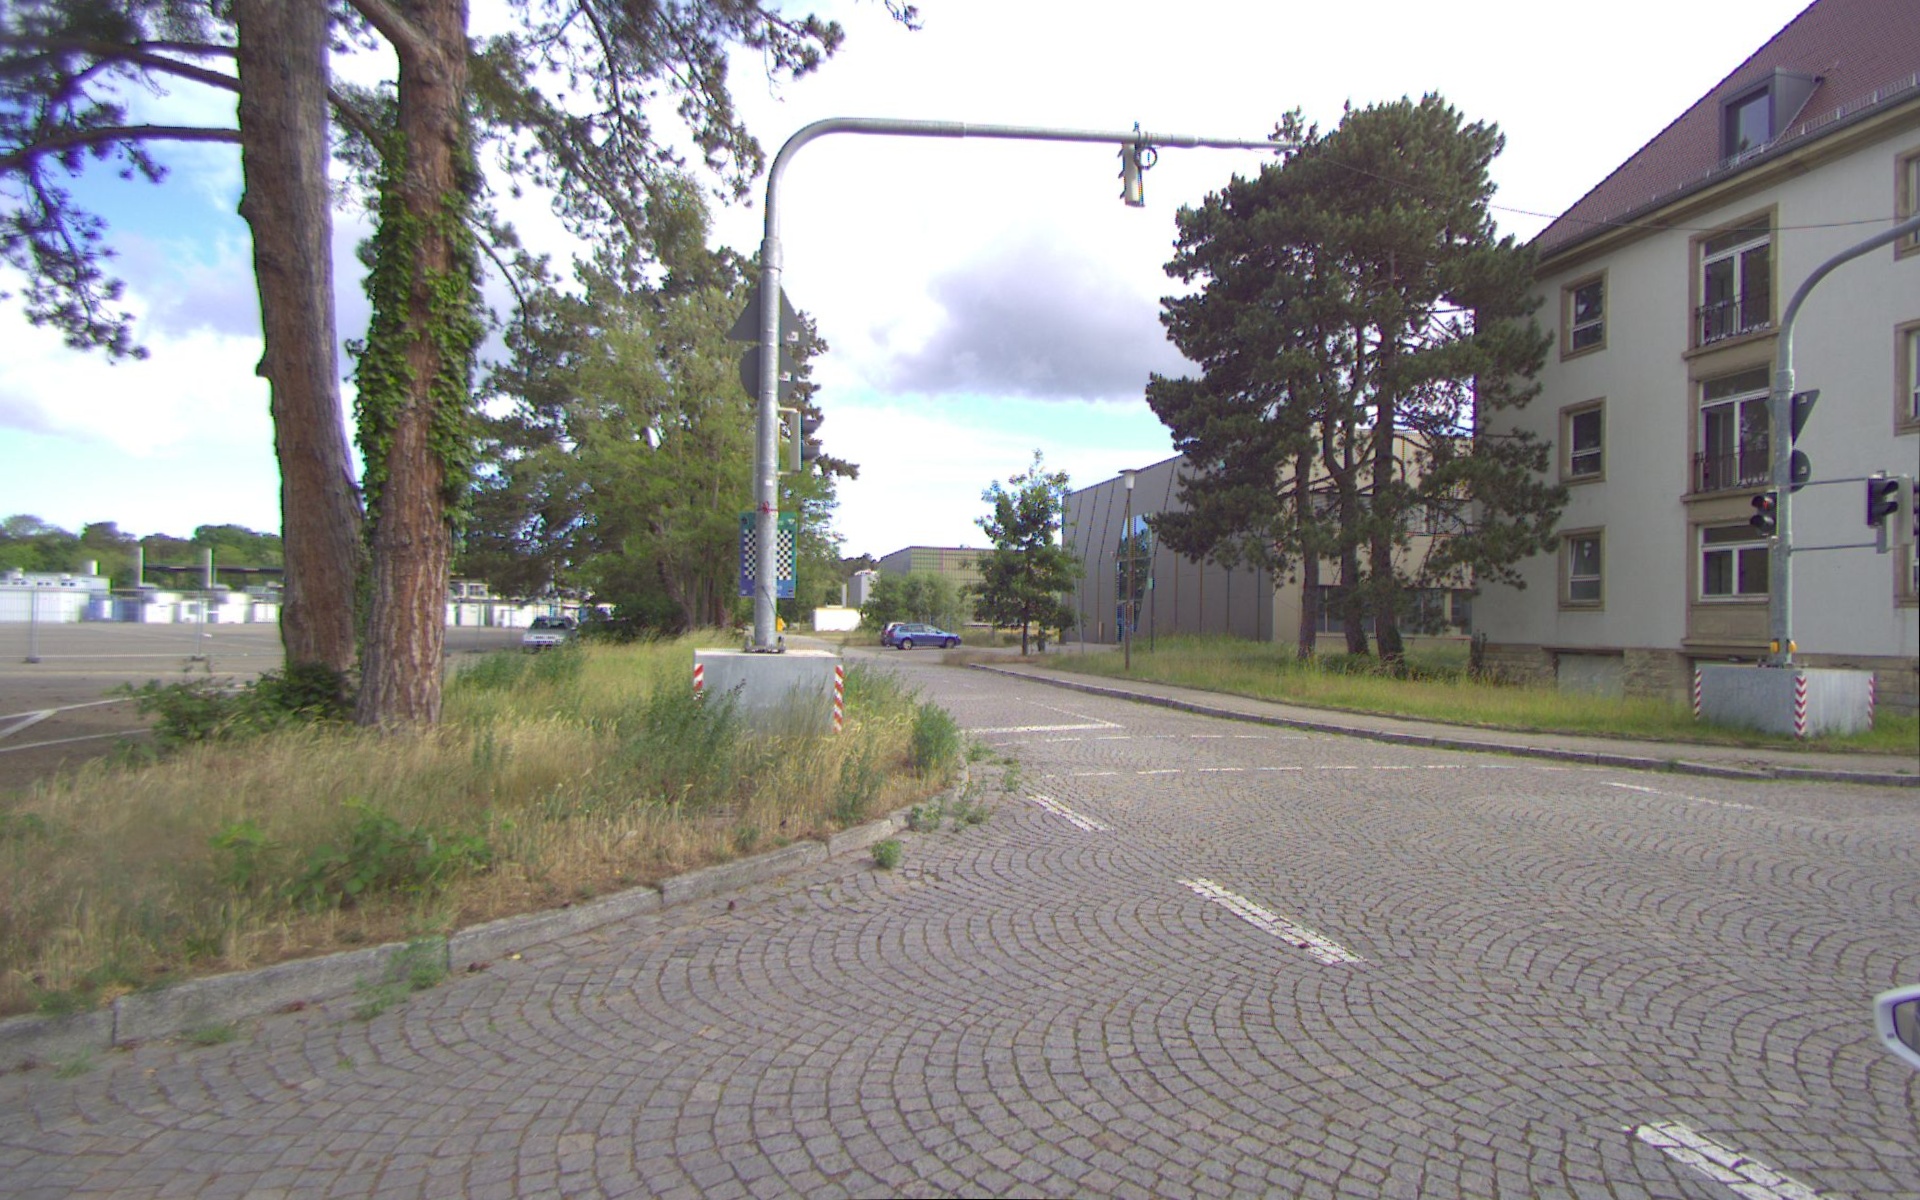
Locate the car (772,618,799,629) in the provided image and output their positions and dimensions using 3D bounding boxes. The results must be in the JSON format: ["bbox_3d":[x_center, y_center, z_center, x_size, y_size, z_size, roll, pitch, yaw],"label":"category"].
[{"bbox_3d":[-29.533,3.931,170.105,4.294,1.804,1.921,1,-1,-13],"label":"car"}]

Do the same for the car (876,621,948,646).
[{"bbox_3d":[-3.198,2.176,66.506,4.455,1.552,1.995,0,-1,-14],"label":"car"}]

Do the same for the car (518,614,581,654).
[{"bbox_3d":[-16.391,1.342,40.306,1.894,1.496,4.354,1,-1,-16],"label":"car"}]

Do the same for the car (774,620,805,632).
[{"bbox_3d":[-25.392,3.904,149.551,4.296,1.710,1.919,1,-1,-15],"label":"car"}]

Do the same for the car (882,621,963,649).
[{"bbox_3d":[-2.219,2.035,59.109,4.460,1.552,1.993,0,-1,-18],"label":"car"}]
